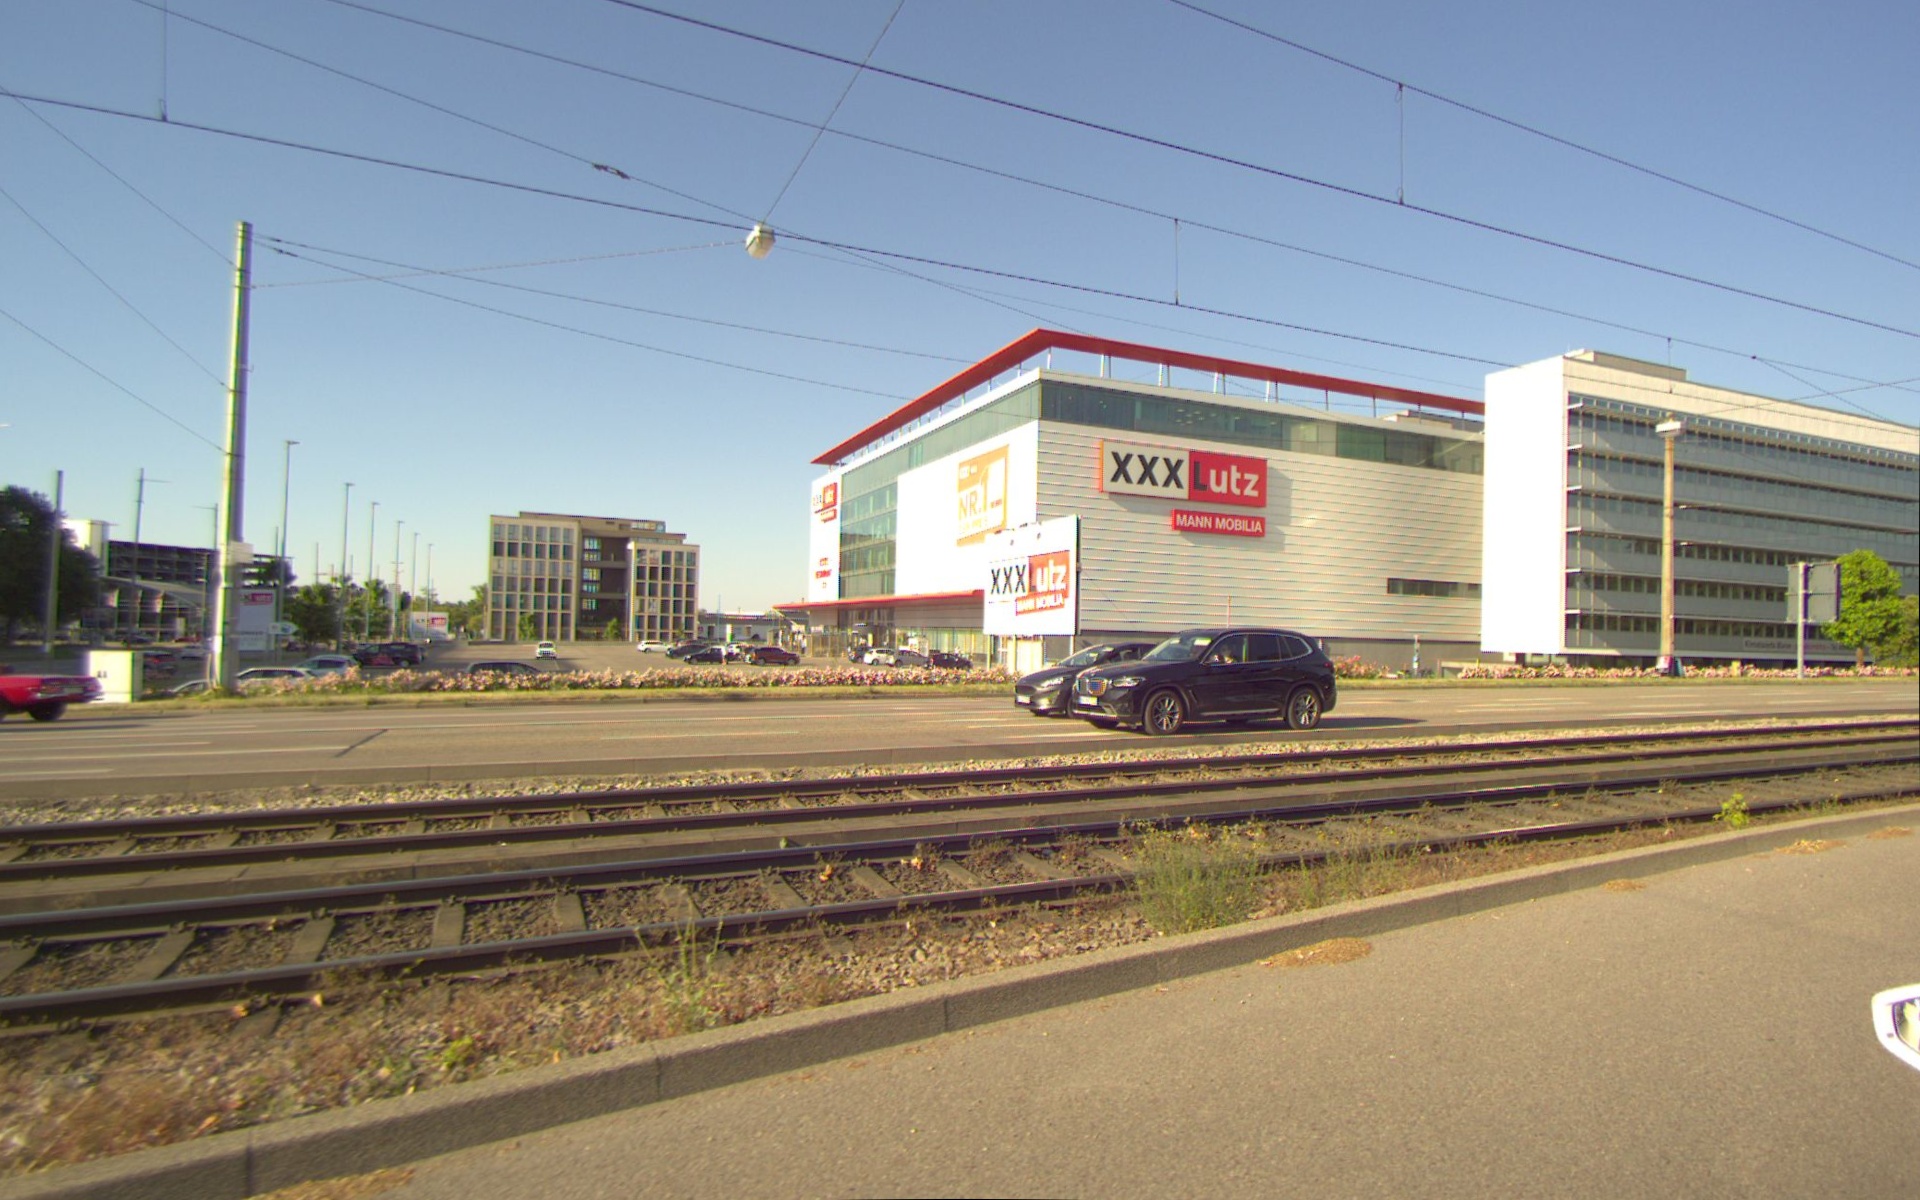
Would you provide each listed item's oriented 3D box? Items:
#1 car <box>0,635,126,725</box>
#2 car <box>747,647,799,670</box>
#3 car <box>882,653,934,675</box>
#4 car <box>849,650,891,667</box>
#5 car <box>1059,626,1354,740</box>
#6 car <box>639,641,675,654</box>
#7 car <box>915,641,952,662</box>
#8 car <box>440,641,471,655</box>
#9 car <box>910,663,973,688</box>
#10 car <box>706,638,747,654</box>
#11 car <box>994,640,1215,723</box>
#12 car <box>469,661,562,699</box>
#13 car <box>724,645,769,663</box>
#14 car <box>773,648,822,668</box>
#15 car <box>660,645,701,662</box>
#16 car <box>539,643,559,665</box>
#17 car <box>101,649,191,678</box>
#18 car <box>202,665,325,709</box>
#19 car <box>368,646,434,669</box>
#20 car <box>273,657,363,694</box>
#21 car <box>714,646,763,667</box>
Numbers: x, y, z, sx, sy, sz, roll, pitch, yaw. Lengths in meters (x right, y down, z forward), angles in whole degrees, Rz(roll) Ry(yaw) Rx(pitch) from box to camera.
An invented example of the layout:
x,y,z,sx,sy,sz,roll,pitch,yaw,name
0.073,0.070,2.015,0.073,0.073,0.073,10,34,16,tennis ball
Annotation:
x,y,z,sx,sy,sz,roll,pitch,yaw,name
-18.889,1.515,19.318,3.929,1.664,1.823,1,-3,-11,car
-16.081,4.993,86.283,3.948,1.838,1.986,1,1,-27,car
-4.400,5.384,84.942,3.948,1.725,1.914,1,1,-27,car
-8.433,5.487,94.222,3.614,1.387,1.649,2,1,-24,car
4.136,1.310,16.795,4.595,1.677,1.988,1,-2,-25,car
-36.353,5.718,120.556,3.944,1.468,1.869,2,1,-24,car
-2.527,4.938,95.508,3.243,1.880,1.502,1,1,-24,car
-74.457,7.073,148.342,3.945,1.805,1.988,2,1,-25,car
-1.413,5.706,76.452,4.391,1.725,1.914,1,1,-27,car
-25.614,5.035,110.155,3.955,1.640,1.863,1,1,-32,car
2.901,1.570,20.075,4.085,1.480,1.850,1,-2,-28,car
-21.703,3.907,49.214,3.937,1.746,1.863,1,-2,-19,car
-20.840,5.244,98.178,3.952,1.640,1.865,1,1,-29,car
-14.599,5.203,90.138,3.952,1.640,1.865,1,1,-29,car
-28.652,5.466,103.022,3.935,1.737,1.993,2,-3,-17,car
-40.465,5.272,98.866,1.800,1.824,4.206,1,1,-22,car
-51.780,4.049,63.941,4.164,1.589,1.908,2,1,-1,car
-31.382,3.892,45.438,4.365,1.733,1.984,1,1,-30,car
-43.058,4.400,77.426,4.387,1.573,1.659,1,1,-30,car
-34.720,4.060,54.421,3.952,1.768,1.920,1,1,-29,car
-19.772,5.036,89.670,3.948,1.725,1.967,1,1,-27,car
